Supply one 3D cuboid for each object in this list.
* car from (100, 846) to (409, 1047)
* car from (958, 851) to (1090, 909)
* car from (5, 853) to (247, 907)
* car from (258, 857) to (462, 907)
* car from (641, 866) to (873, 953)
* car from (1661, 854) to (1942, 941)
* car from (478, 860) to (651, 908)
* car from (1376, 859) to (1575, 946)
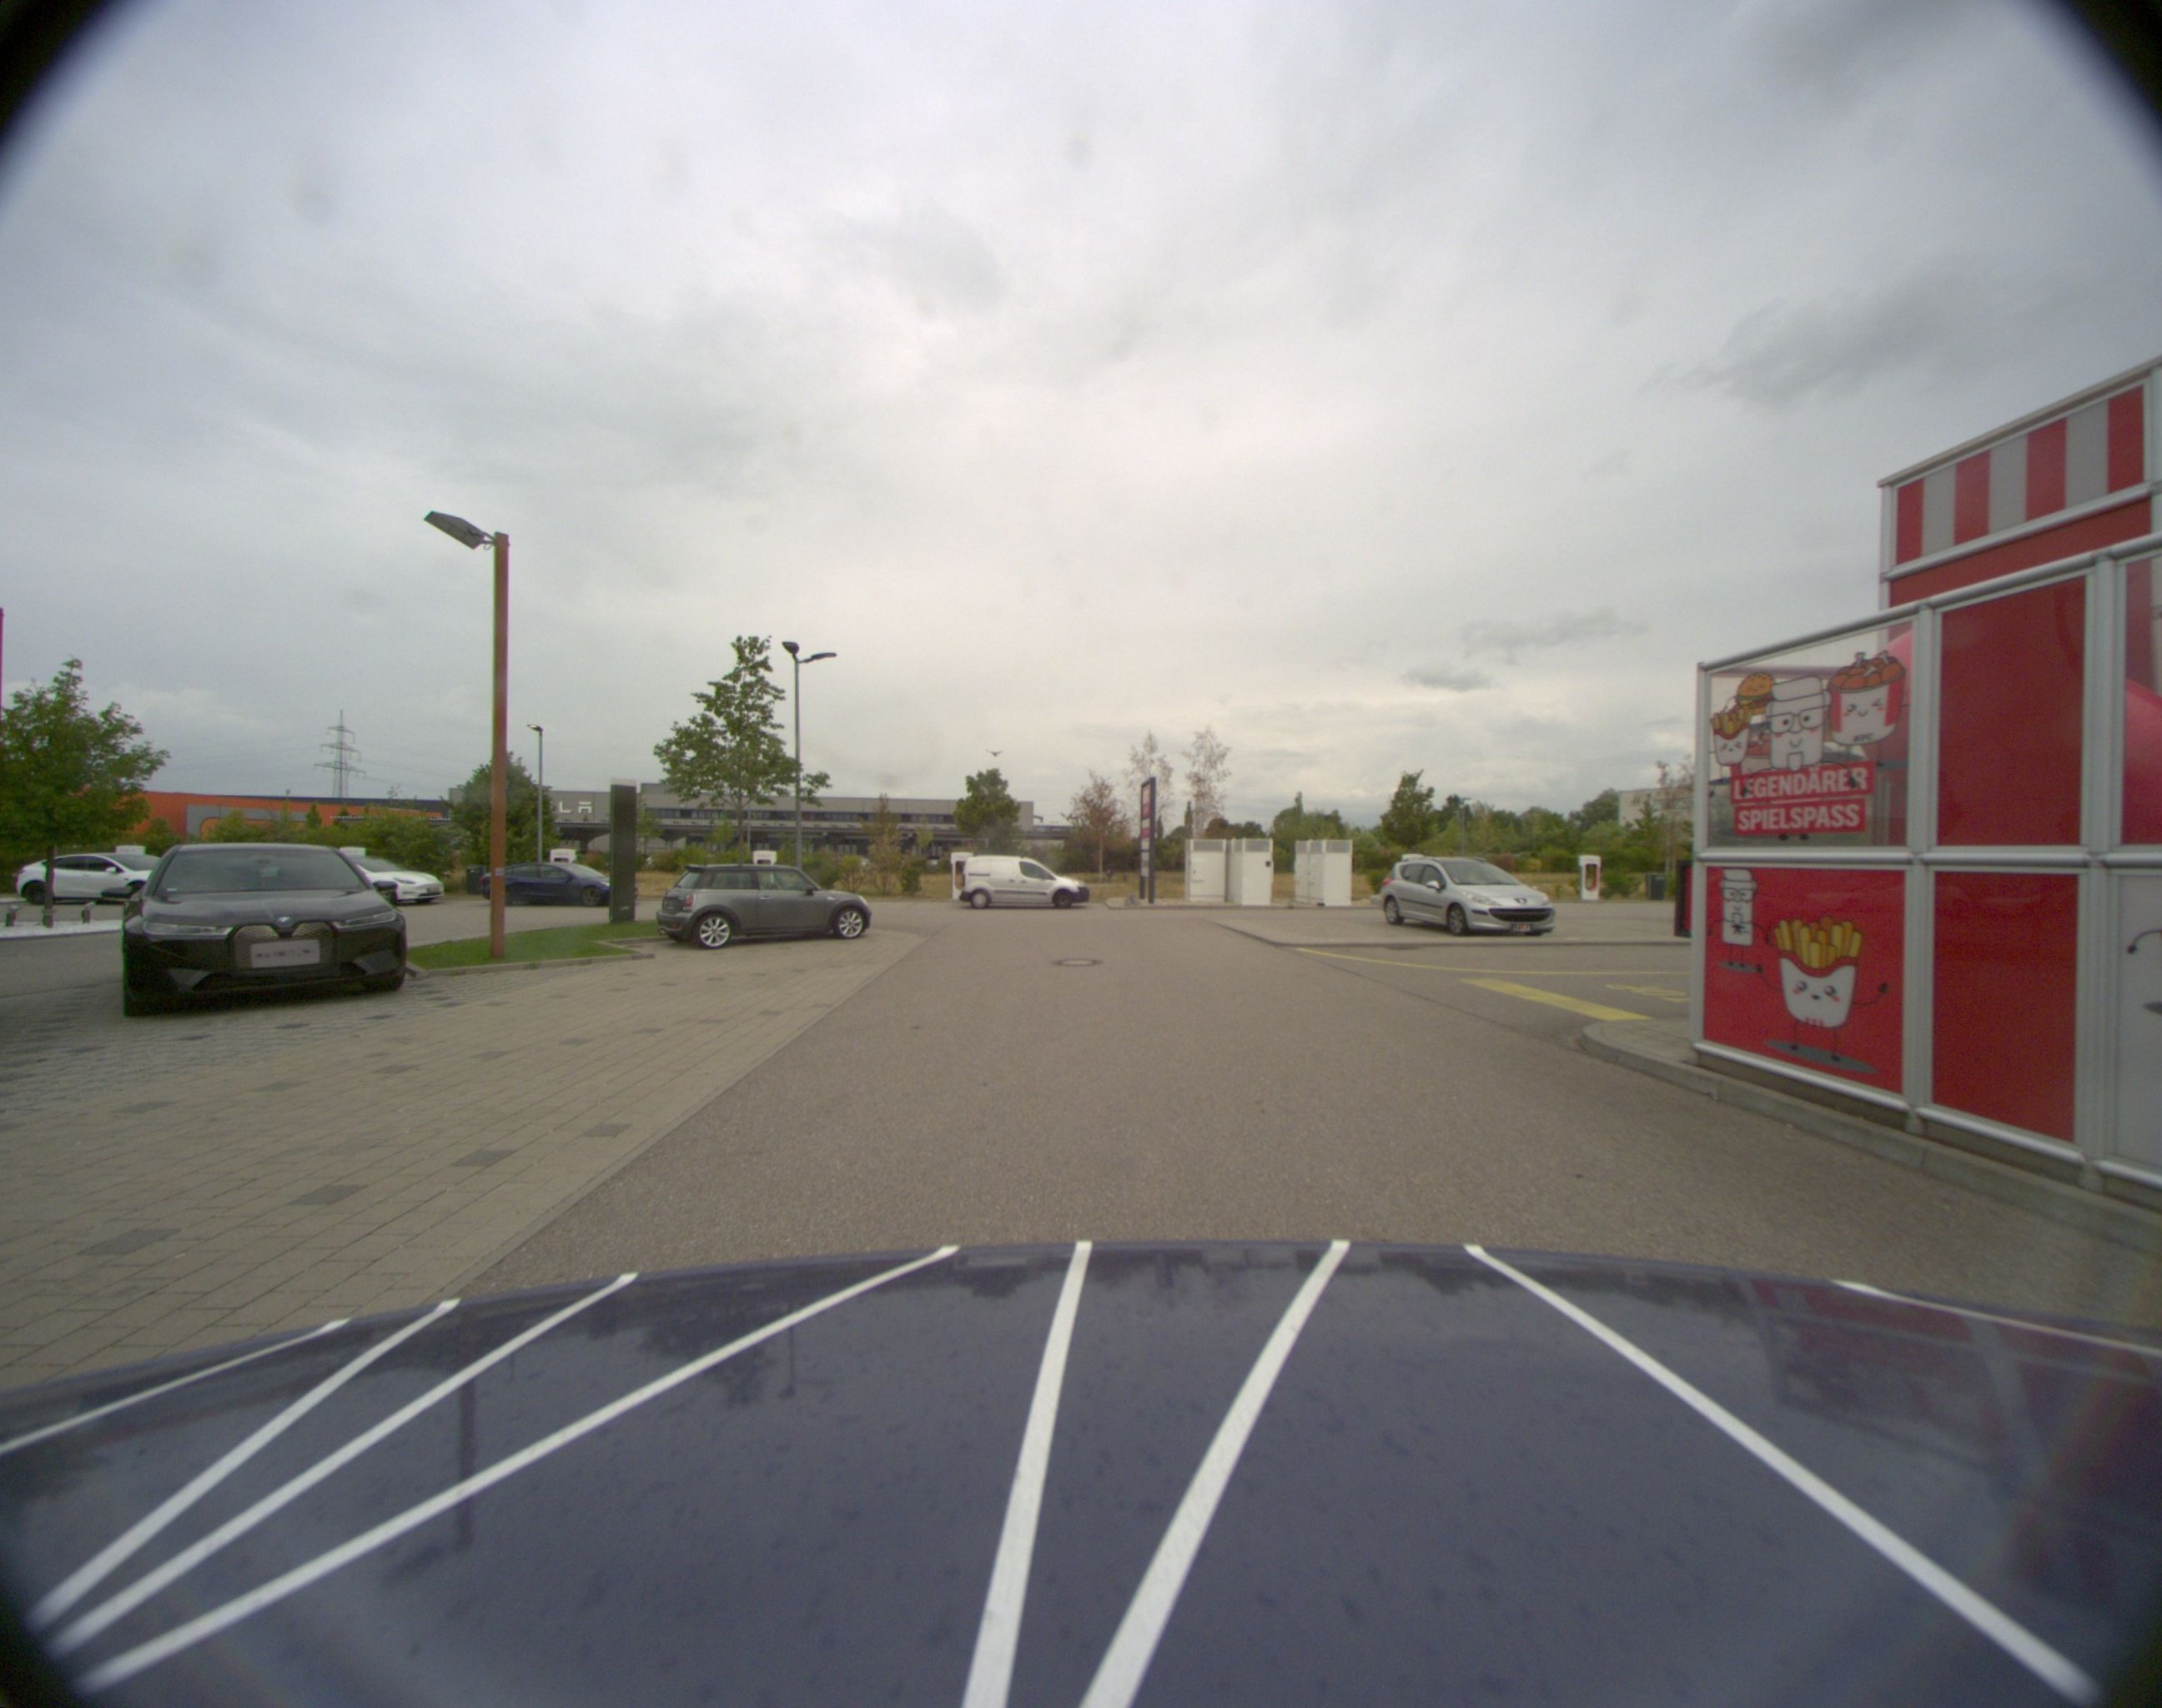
[{"bbox_3d":[-9.695,0.809,8.786,4.882,1.717,2.004,0,-1,38],"label":"car"},{"bbox_3d":[-1.933,0.892,25.990,4.335,1.876,1.946,1,-1,-5],"label":"car"},{"bbox_3d":[-30.518,0.809,24.428,4.942,1.592,2.072,1,0,-3],"label":"car"},{"bbox_3d":[-23.398,0.894,24.830,4.477,1.544,2.072,0,0,-5],"label":"car"},{"bbox_3d":[-5.817,0.928,13.864,3.535,1.368,1.605,2,-2,-44],"label":"car"},{"bbox_3d":[15.107,0.826,16.360,1.585,1.607,4.484,1,0,-4],"label":"car"},{"bbox_3d":[-17.042,0.977,25.232,4.454,1.450,1.833,1,1,-2],"label":"car"},{"bbox_3d":[7.745,0.868,15.427,1.628,1.496,4.167,1,0,-4],"label":"car"}]
